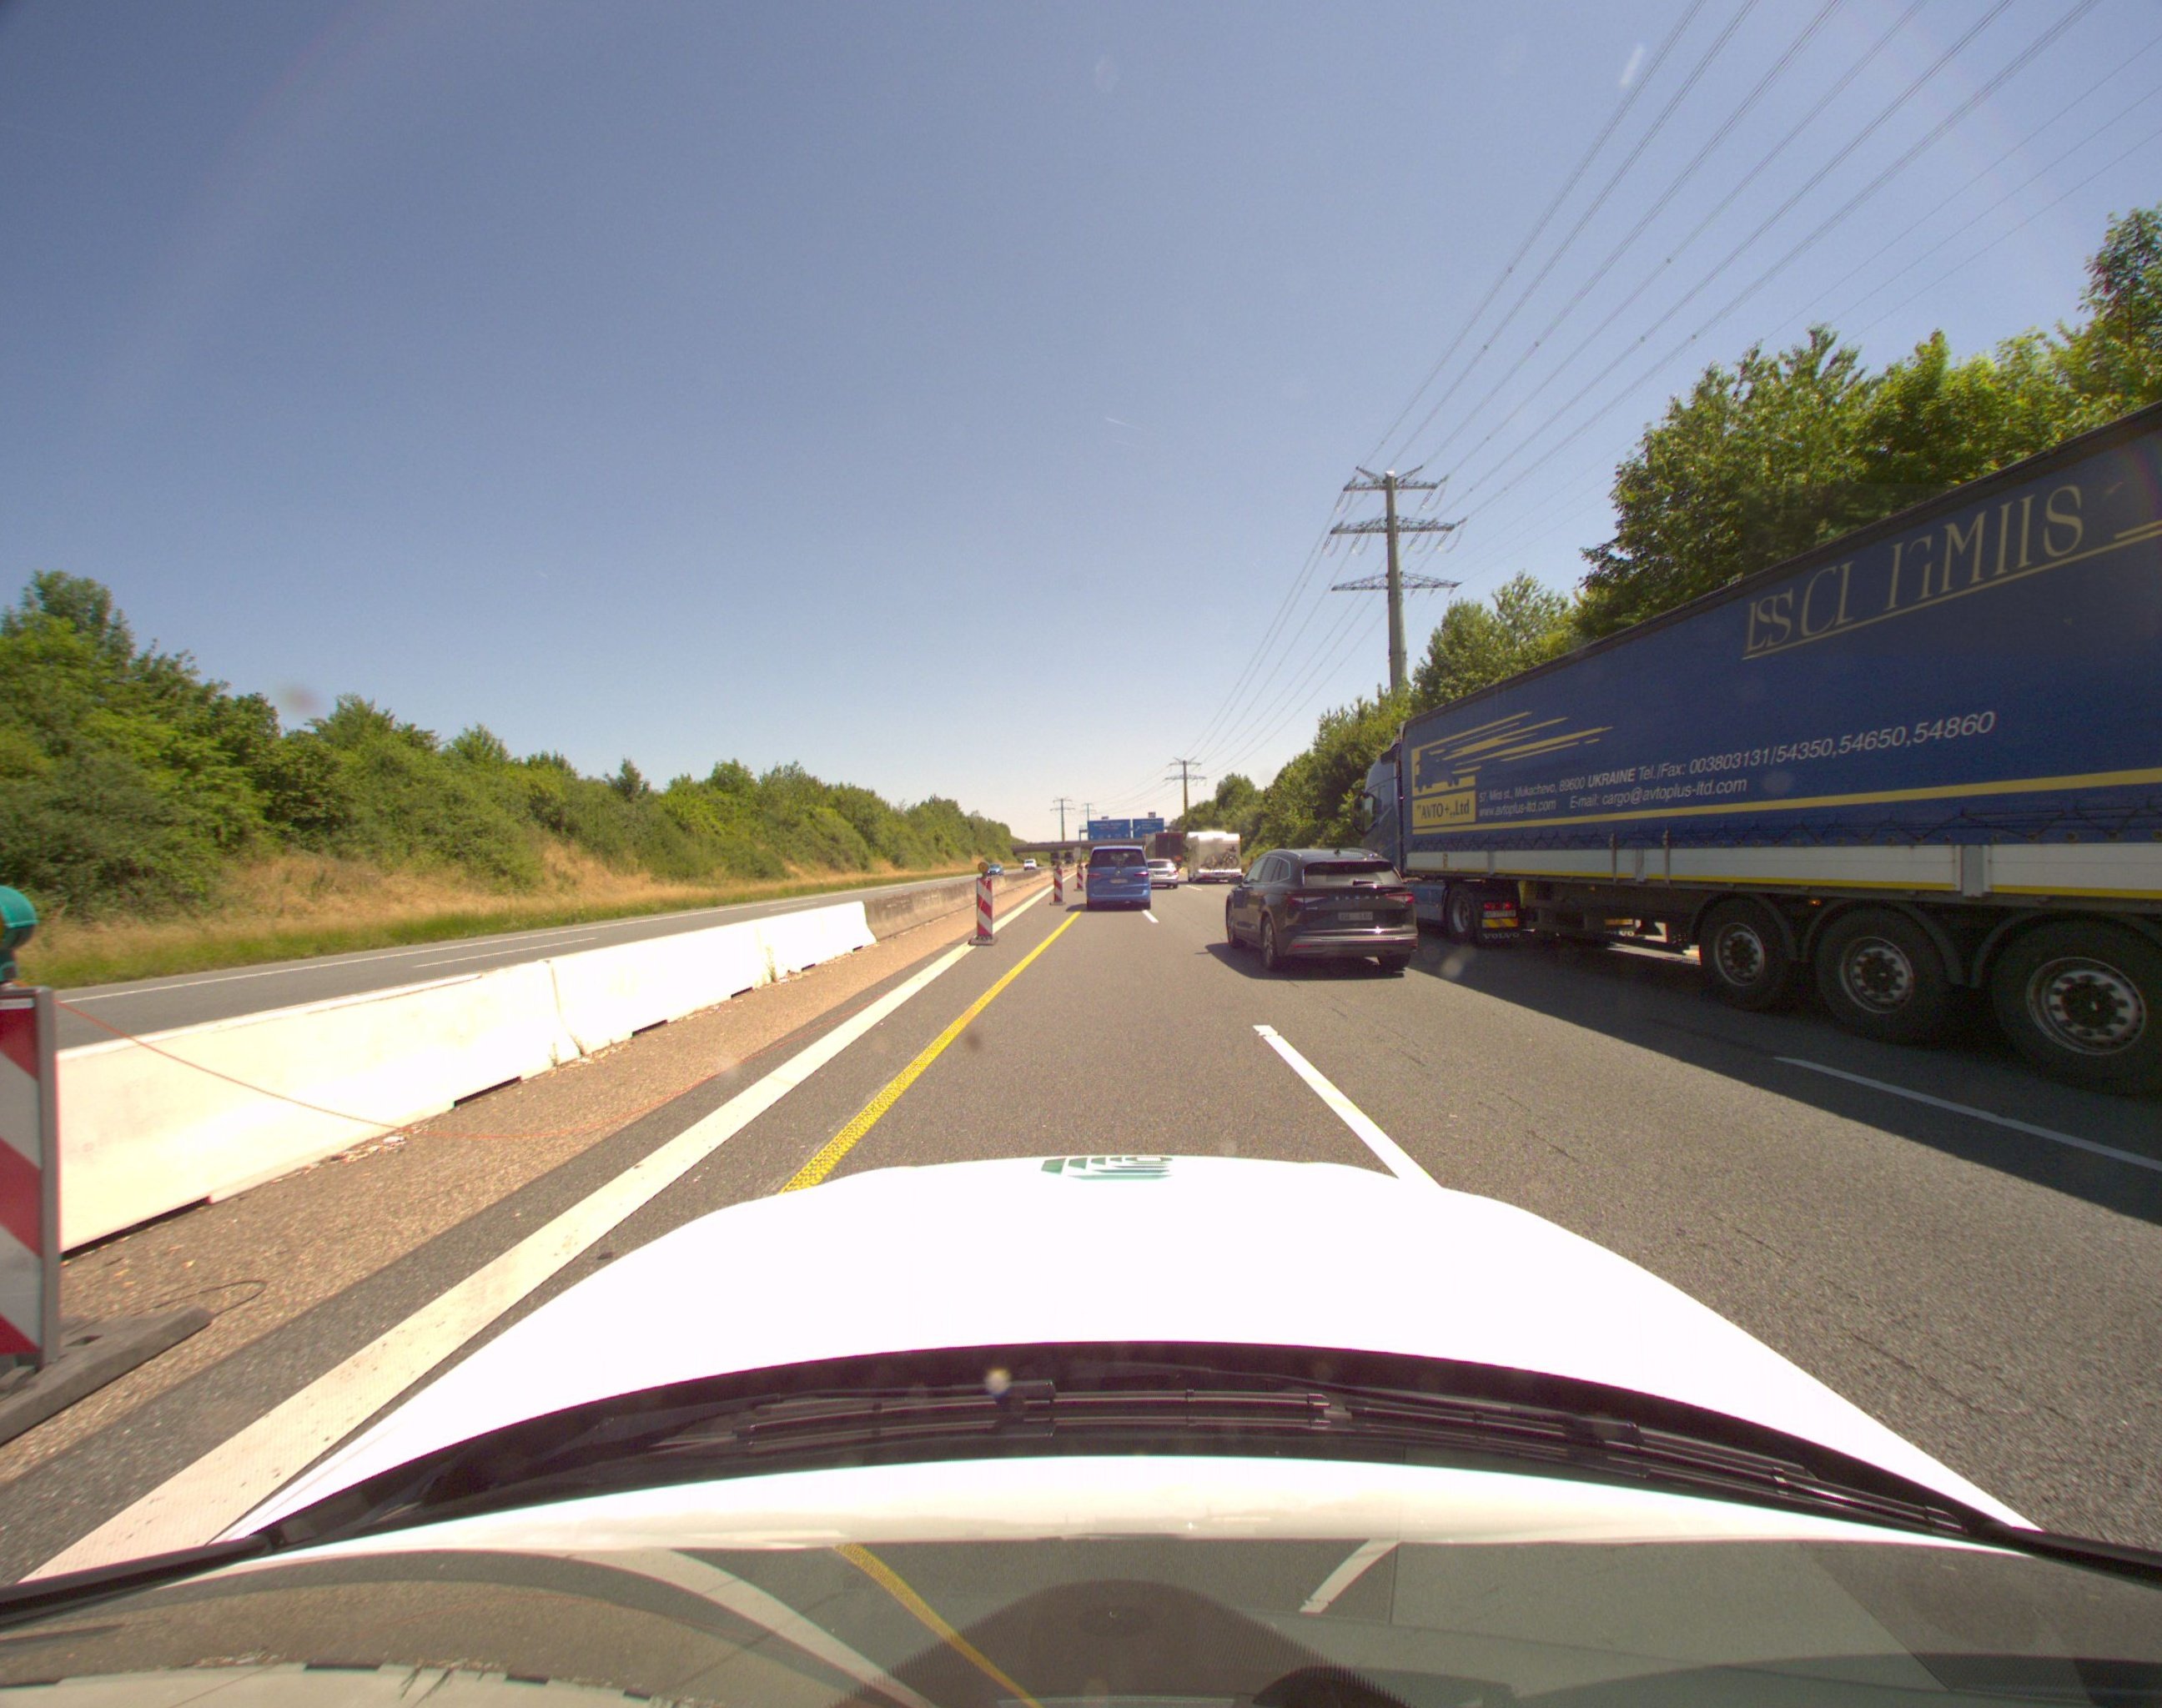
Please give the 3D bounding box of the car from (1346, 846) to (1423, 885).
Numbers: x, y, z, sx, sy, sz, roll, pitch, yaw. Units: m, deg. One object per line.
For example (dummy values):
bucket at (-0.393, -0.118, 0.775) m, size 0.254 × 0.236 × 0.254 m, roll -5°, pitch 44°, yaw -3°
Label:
car at (13.596, 0.505, 36.765) m, size 1.869 × 1.671 × 4.358 m, roll 0°, pitch 0°, yaw 0°

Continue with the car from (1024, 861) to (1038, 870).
car at (-8.547, 1.970, 139.067) m, size 1.986 × 1.398 × 4.002 m, roll -3°, pitch 0°, yaw 2°

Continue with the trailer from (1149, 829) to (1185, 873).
trailer at (8.539, -0.226, 82.187) m, size 2.772 × 4.047 × 13.118 m, roll 0°, pitch 0°, yaw 2°

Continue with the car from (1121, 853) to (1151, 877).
car at (4.033, 0.772, 59.928) m, size 1.869 × 1.671 × 4.358 m, roll 0°, pitch 0°, yaw 0°

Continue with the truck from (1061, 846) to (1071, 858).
truck at (-4.773, -0.553, 258.234) m, size 2.711 × 3.919 × 6.781 m, roll 0°, pitch 0°, yaw 2°

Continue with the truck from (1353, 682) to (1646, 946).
truck at (7.529, -0.621, 15.637) m, size 2.776 × 4.144 × 5.637 m, roll 0°, pitch -1°, yaw 1°

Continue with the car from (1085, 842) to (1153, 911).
car at (1.091, 0.648, 25.158) m, size 1.869 × 1.912 × 4.358 m, roll 0°, pitch 0°, yaw 0°

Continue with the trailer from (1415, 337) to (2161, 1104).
trailer at (7.439, -0.718, 8.459) m, size 2.758 × 4.264 × 12.878 m, roll 0°, pitch 0°, yaw 1°

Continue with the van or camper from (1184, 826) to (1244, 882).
van or camper at (7.633, 0.030, 47.642) m, size 2.360 × 3.043 × 7.633 m, roll 0°, pitch 0°, yaw 1°

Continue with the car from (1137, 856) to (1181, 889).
car at (3.797, 0.876, 40.279) m, size 1.765 × 1.517 × 4.358 m, roll 0°, pitch 0°, yaw 0°

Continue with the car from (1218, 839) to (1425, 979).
car at (3.239, 0.666, 11.920) m, size 1.695 × 1.655 × 4.428 m, roll 0°, pitch 0°, yaw 0°

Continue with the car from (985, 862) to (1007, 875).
car at (-9.956, 1.702, 95.910) m, size 1.986 × 1.398 × 4.002 m, roll -3°, pitch 0°, yaw 2°
